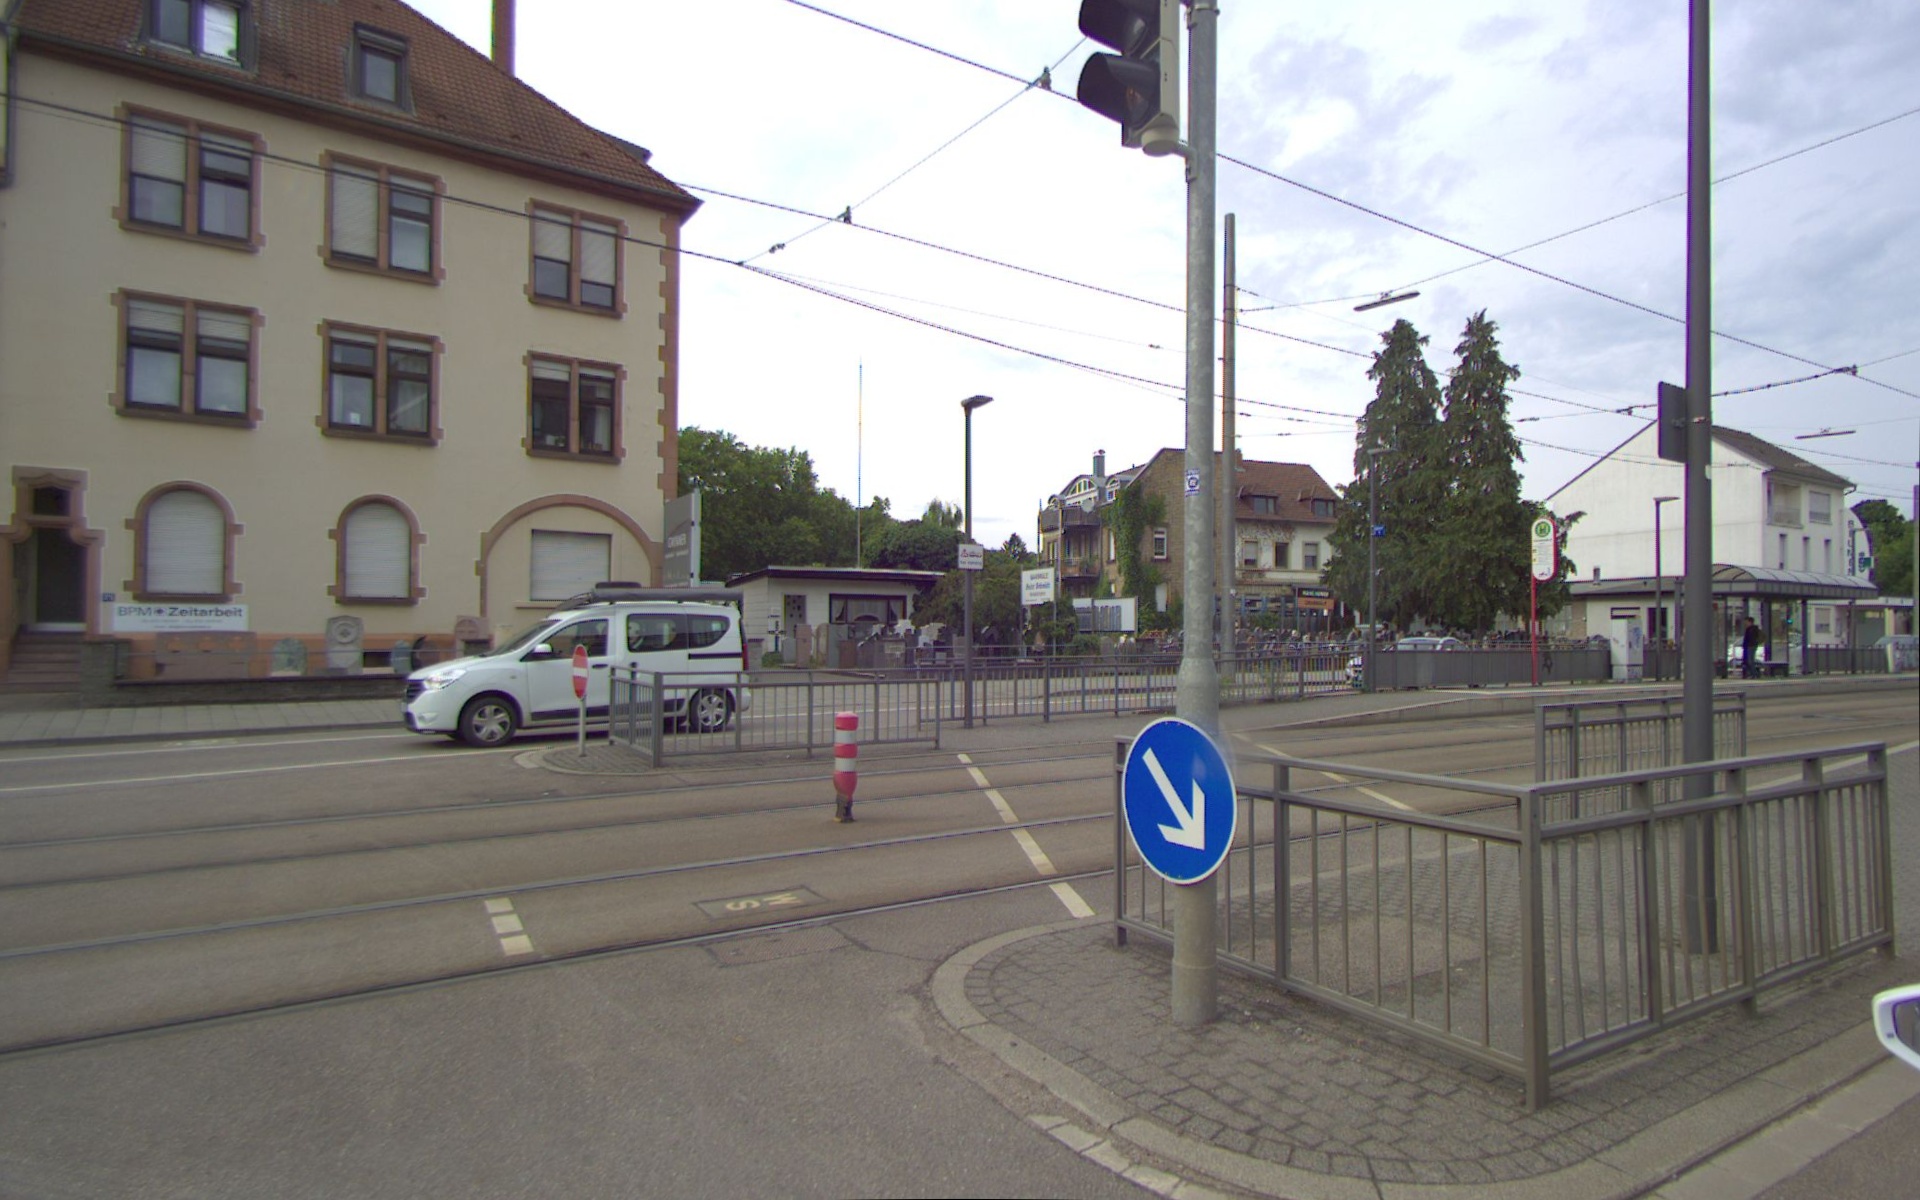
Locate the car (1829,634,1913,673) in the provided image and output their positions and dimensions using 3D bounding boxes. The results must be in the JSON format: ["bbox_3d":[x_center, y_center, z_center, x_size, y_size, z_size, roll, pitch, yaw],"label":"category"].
[{"bbox_3d":[36.106,2.098,39.795,3.963,1.470,1.751,2,-2,-37],"label":"car"}]

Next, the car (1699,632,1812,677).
[{"bbox_3d":[28.005,1.919,35.346,3.955,1.505,1.855,1,-4,-32],"label":"car"}]

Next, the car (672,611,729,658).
[{"bbox_3d":[-11.955,1.503,46.035,2.089,2.012,5.291,0,-1,-19],"label":"car"}]

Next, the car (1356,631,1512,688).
[{"bbox_3d":[11.770,1.451,24.880,3.791,1.316,1.741,2,-3,-32],"label":"car"}]

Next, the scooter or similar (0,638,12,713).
[{"bbox_3d":[-15.006,1.127,15.239,1.156,1.116,0.527,1,-1,26],"label":"scooter or similar"}]

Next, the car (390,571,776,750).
[{"bbox_3d":[-4.910,0.765,13.408,4.483,2.015,1.871,2,-3,-37],"label":"car"}]

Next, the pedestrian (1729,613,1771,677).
[{"bbox_3d":[21.296,1.208,27.077,0.683,1.686,0.617,1,-1,15],"label":"pedestrian"}]
